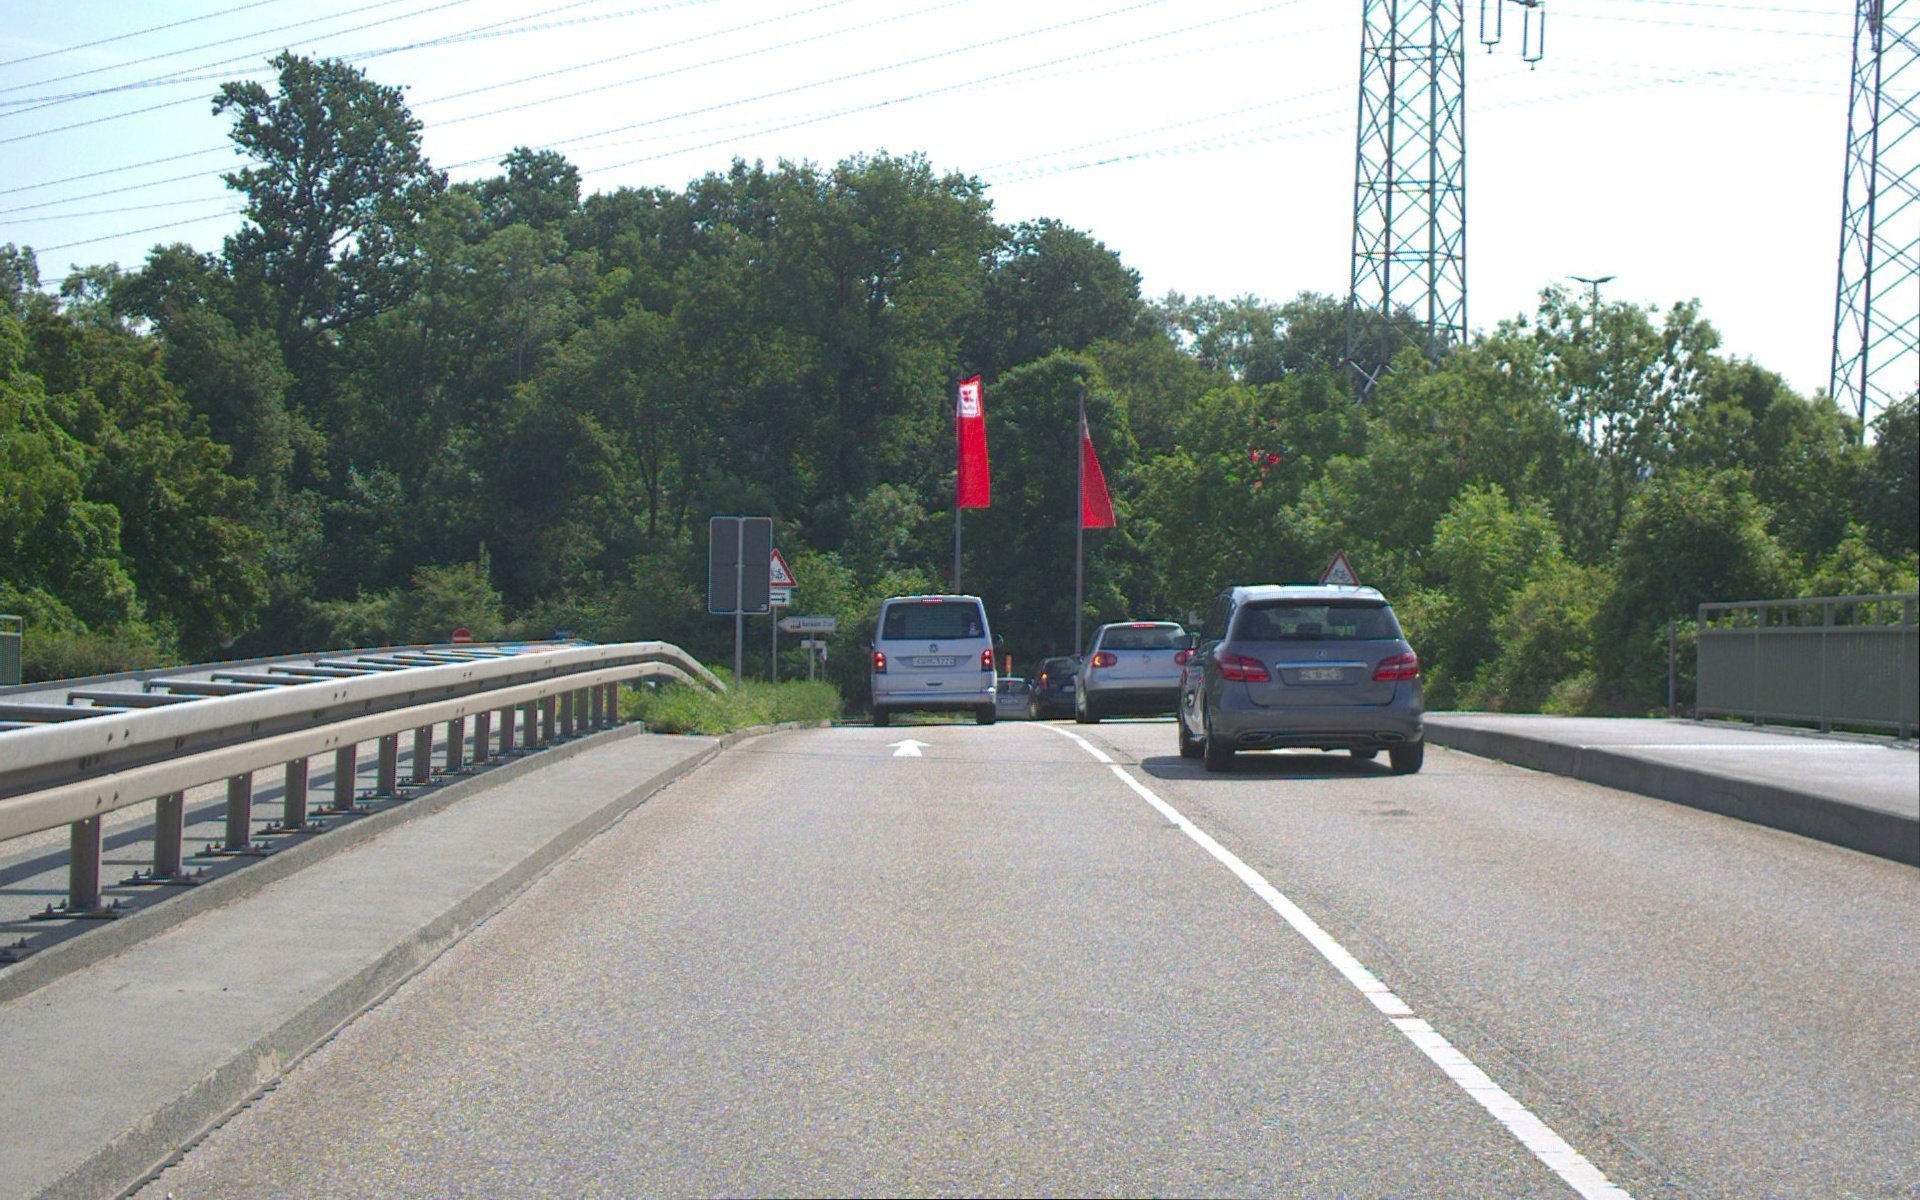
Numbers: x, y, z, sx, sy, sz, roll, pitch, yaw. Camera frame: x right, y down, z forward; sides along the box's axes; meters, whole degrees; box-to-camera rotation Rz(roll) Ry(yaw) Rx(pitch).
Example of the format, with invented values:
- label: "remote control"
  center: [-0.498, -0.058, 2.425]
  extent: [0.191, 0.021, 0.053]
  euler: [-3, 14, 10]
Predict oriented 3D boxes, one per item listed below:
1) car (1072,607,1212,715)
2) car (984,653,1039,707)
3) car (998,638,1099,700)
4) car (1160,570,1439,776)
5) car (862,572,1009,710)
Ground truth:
- label: "car"
  center: [2.643, 0.924, 50.742]
  extent: [1.856, 1.524, 4.143]
  euler: [0, -2, 0]
- label: "car"
  center: [1.519, 2.382, 102.260]
  extent: [1.549, 1.548, 3.554]
  euler: [1, -2, -1]
- label: "car"
  center: [2.026, 1.561, 77.814]
  extent: [1.774, 1.327, 3.739]
  euler: [1, -1, 9]
- label: "car"
  center: [2.814, 0.563, 29.331]
  extent: [1.856, 1.524, 4.145]
  euler: [0, 2, -1]
- label: "car"
  center: [-0.333, 0.637, 52.674]
  extent: [2.039, 2.007, 3.999]
  euler: [-1, -1, 2]
